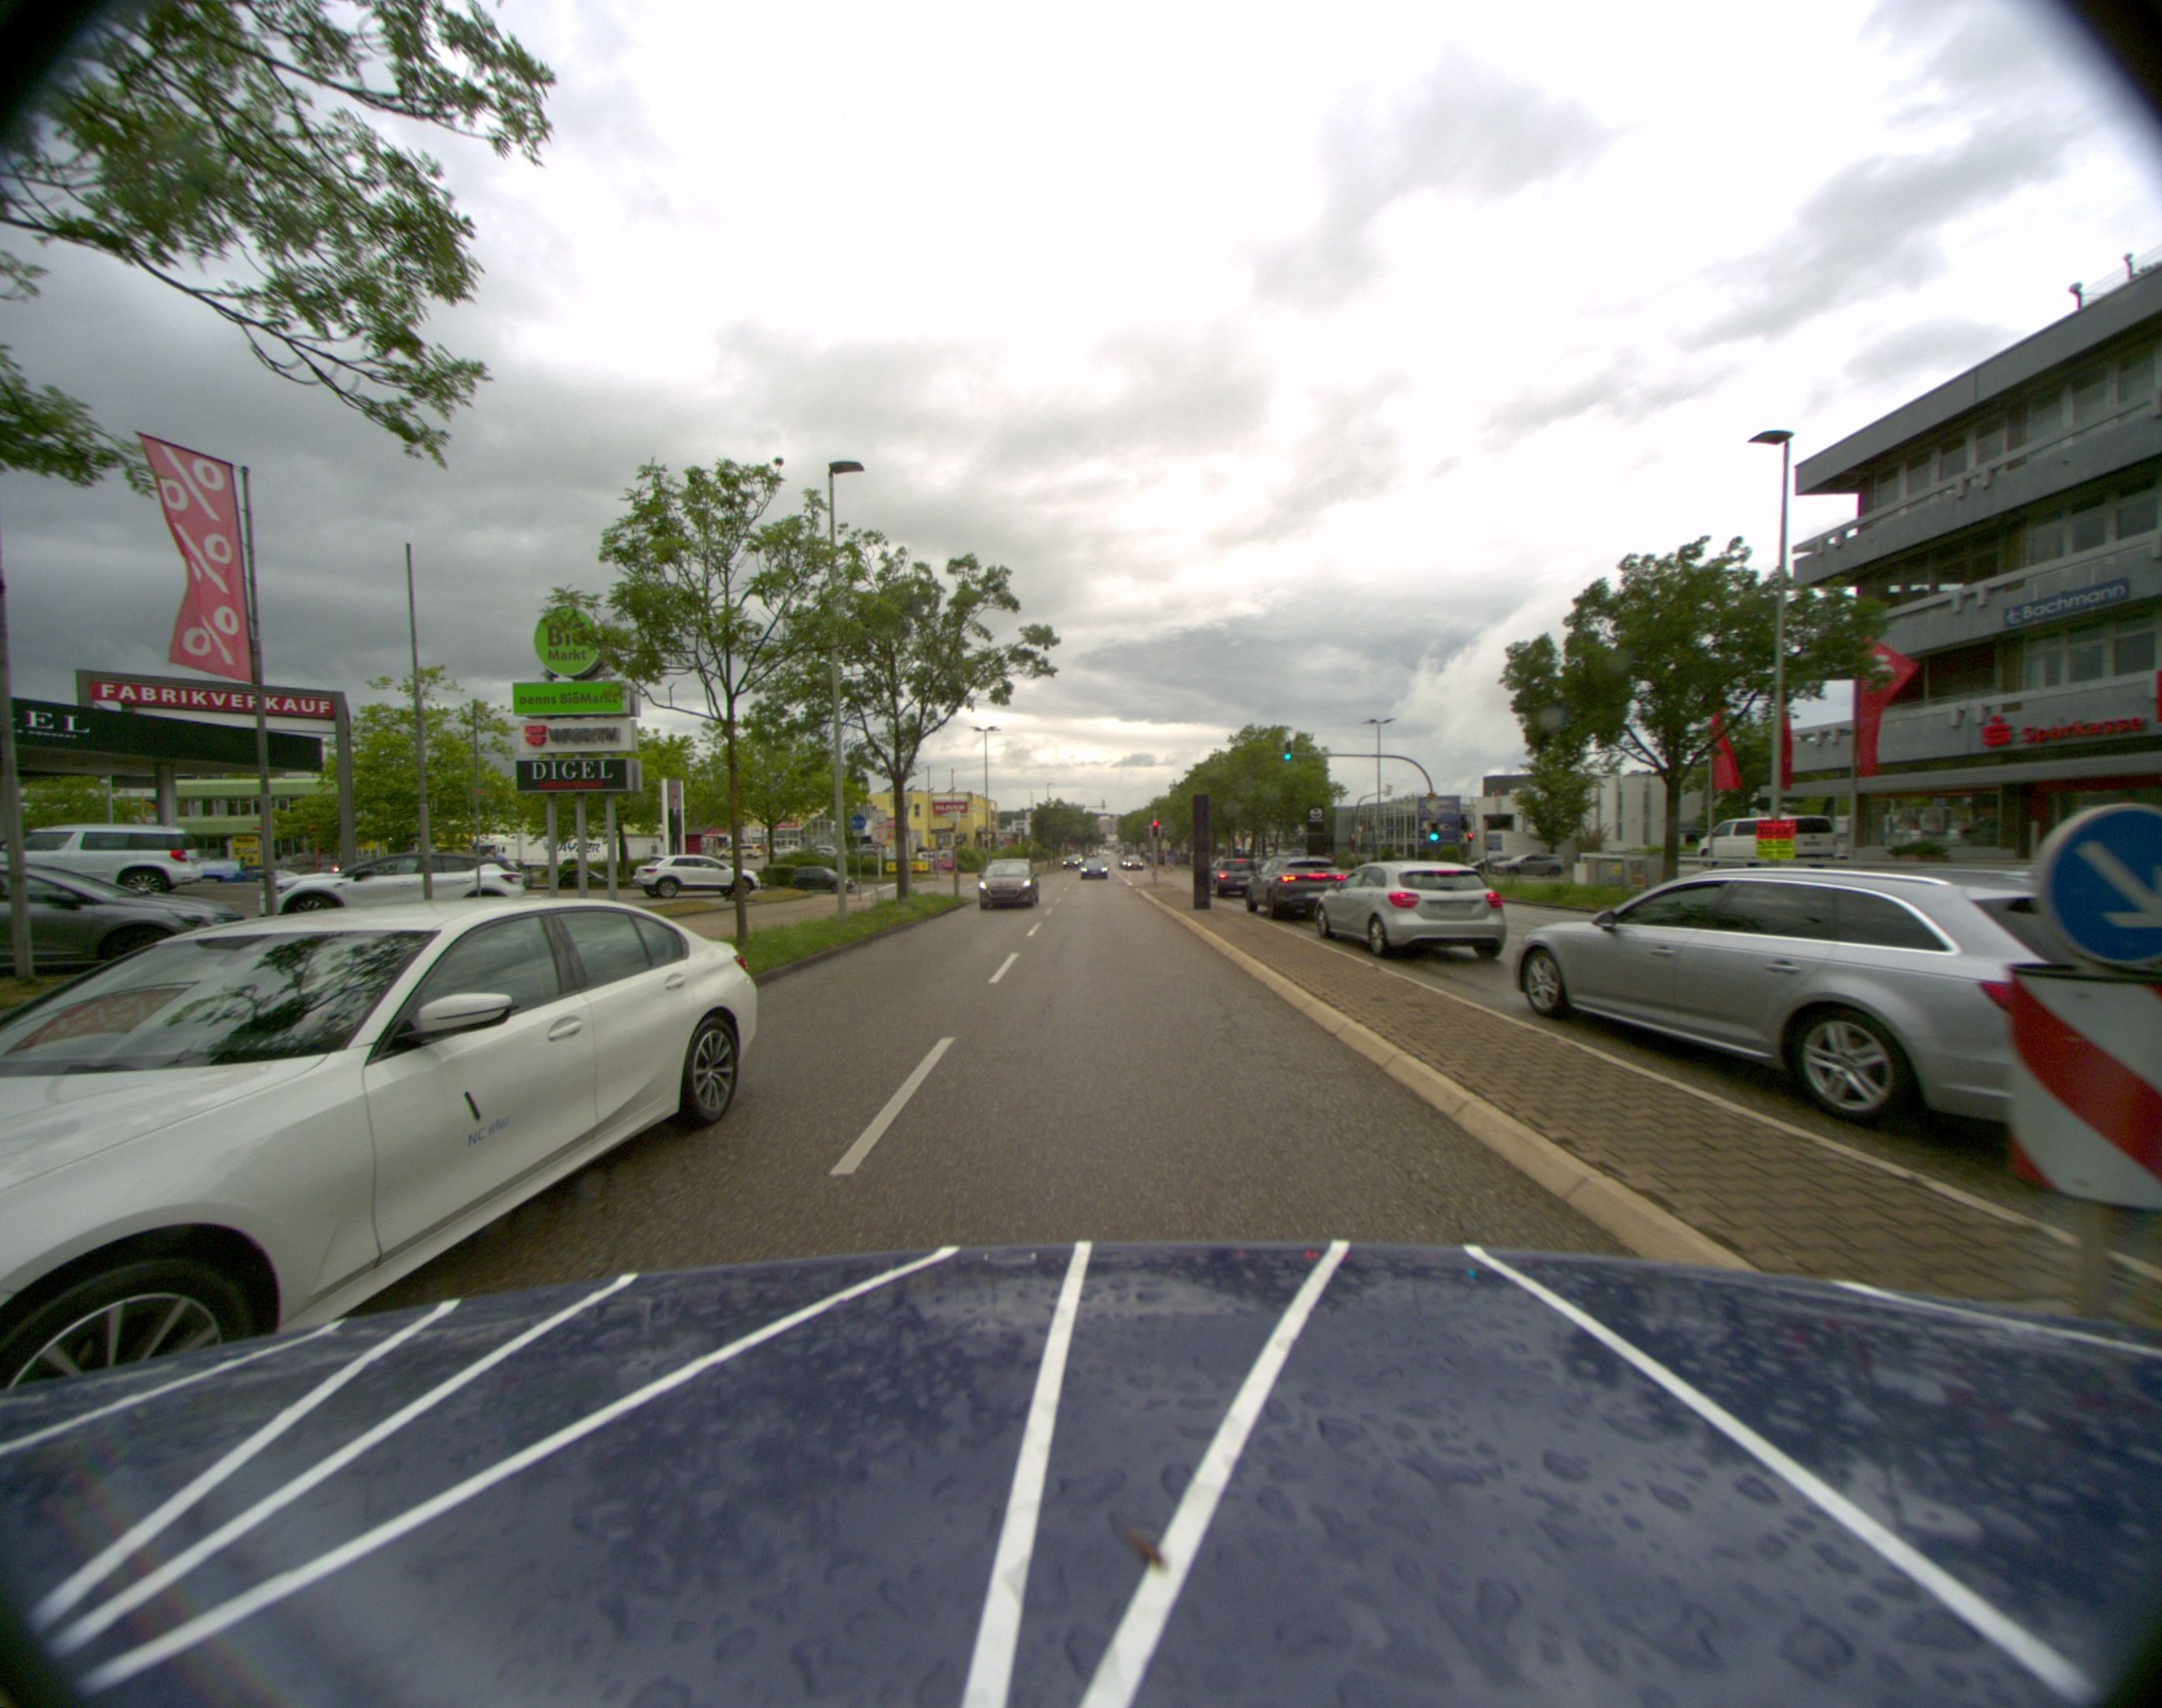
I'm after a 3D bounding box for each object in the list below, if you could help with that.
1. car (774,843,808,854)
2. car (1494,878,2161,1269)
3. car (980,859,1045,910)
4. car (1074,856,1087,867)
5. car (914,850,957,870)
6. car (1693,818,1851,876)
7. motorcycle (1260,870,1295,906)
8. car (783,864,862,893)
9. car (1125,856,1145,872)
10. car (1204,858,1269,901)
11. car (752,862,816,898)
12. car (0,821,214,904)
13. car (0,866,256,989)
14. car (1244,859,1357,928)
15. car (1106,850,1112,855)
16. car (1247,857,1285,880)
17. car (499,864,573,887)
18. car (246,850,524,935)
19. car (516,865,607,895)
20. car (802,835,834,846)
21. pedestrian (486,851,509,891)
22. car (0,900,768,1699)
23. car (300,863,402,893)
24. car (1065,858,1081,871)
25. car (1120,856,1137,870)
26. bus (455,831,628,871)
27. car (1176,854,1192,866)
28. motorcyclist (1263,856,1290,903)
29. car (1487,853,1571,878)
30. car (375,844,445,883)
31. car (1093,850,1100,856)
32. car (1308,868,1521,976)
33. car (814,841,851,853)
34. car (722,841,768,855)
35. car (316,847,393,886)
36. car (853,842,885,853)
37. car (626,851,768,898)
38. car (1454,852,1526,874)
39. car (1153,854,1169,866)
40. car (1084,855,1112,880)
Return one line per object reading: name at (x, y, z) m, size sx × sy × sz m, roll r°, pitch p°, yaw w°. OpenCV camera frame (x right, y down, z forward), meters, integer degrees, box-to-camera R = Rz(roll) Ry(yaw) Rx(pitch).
car at (-41.997, -0.852, 110.174) m, size 4.220 × 1.572 × 1.824 m, roll 0°, pitch 0°, yaw 2°
car at (4.994, 0.938, 5.265) m, size 1.788 × 1.397 × 4.617 m, roll 0°, pitch 0°, yaw 1°
car at (-2.302, 0.990, 26.487) m, size 1.799 × 1.572 × 4.218 m, roll -2°, pitch 0°, yaw 0°
car at (-0.011, 1.097, 109.032) m, size 1.753 × 1.501 × 4.000 m, roll 0°, pitch 0°, yaw 1°
car at (-13.805, 0.582, 72.289) m, size 4.000 × 1.801 × 1.766 m, roll 0°, pitch 0°, yaw -10°
car at (26.552, -0.264, 29.483) m, size 1.997 × 2.002 × 4.887 m, roll -2°, pitch 0°, yaw 6°
motorcycle at (6.464, 1.103, 25.039) m, size 0.704 × 1.101 × 1.800 m, roll 1°, pitch 0°, yaw 1°
car at (-15.081, 1.420, 44.515) m, size 3.998 × 1.502 × 1.742 m, roll -1°, pitch 3°, yaw -4°
car at (5.358, 0.986, 75.252) m, size 1.753 × 1.501 × 4.000 m, roll 0°, pitch 0°, yaw 1°
car at (5.872, 0.914, 29.179) m, size 1.753 × 1.501 × 4.000 m, roll 0°, pitch 0°, yaw 1°
car at (-13.826, 1.181, 35.276) m, size 1.747 × 1.570 × 3.864 m, roll 1°, pitch -2°, yaw -38°
car at (-23.136, 0.190, 17.403) m, size 4.125 × 1.735 × 1.794 m, roll 2°, pitch 1°, yaw -42°
car at (-13.887, 0.917, 9.922) m, size 4.028 × 1.429 × 1.738 m, roll 2°, pitch 0°, yaw -41°
car at (5.371, 0.908, 19.134) m, size 1.753 × 1.516 × 4.000 m, roll 0°, pitch 0°, yaw 1°
car at (8.698, -0.437, 232.681) m, size 1.753 × 1.501 × 4.001 m, roll 1°, pitch 0°, yaw 3°
car at (13.418, 1.034, 55.251) m, size 1.798 × 1.501 × 4.000 m, roll -2°, pitch 0°, yaw 1°
car at (-39.685, 1.564, 55.390) m, size 3.998 × 1.502 × 1.742 m, roll -1°, pitch 3°, yaw -4°
car at (-14.538, 0.789, 16.260) m, size 4.186 × 1.570 × 1.738 m, roll 2°, pitch 0°, yaw -37°
car at (-30.291, 1.492, 44.397) m, size 3.998 × 1.502 × 1.742 m, roll -1°, pitch 3°, yaw -4°
car at (-40.382, -2.049, 116.855) m, size 4.220 × 1.572 × 1.824 m, roll 0°, pitch 0°, yaw 2°
pedestrian at (-24.568, 0.703, 31.994) m, size 0.471 × 1.671 × 0.569 m, roll -1°, pitch 0°, yaw 14°
car at (-3.168, 1.087, 3.053) m, size 1.808 × 1.432 × 4.542 m, roll -3°, pitch 0°, yaw 1°
car at (-42.267, 1.349, 44.052) m, size 3.998 × 1.502 × 1.742 m, roll -1°, pitch 3°, yaw -4°
car at (-0.905, 1.183, 90.613) m, size 1.753 × 1.501 × 4.000 m, roll 0°, pitch 0°, yaw 1°
car at (5.479, 1.032, 87.290) m, size 1.753 × 1.501 × 4.000 m, roll 0°, pitch 0°, yaw 1°
bus at (-52.184, -0.180, 74.835) m, size 4.101 × 3.492 × 17.337 m, roll 0°, pitch 0°, yaw 3°
car at (14.040, 0.862, 103.522) m, size 1.753 × 1.566 × 4.000 m, roll 0°, pitch 0°, yaw 1°
motorcyclist at (6.469, 0.831, 25.176) m, size 0.693 × 1.519 × 0.727 m, roll 1°, pitch 0°, yaw 1°
car at (30.404, 0.797, 51.628) m, size 4.518 × 1.647 × 1.955 m, roll 0°, pitch 0°, yaw 6°
car at (-30.440, 0.389, 34.591) m, size 1.804 × 1.502 × 4.103 m, roll 2°, pitch 1°, yaw -33°
car at (3.996, -0.150, 197.436) m, size 1.753 × 1.501 × 4.001 m, roll 1°, pitch 0°, yaw 3°
car at (5.138, 0.966, 12.346) m, size 1.745 × 1.397 × 4.000 m, roll 0°, pitch 0°, yaw 1°
car at (-30.921, -0.828, 94.529) m, size 3.996 × 1.501 × 1.800 m, roll 0°, pitch 0°, yaw 2°
car at (-43.441, -0.717, 98.297) m, size 5.092 × 1.787 × 2.035 m, roll 0°, pitch 0°, yaw 2°
car at (-33.294, 0.562, 34.935) m, size 1.804 × 1.502 × 4.103 m, roll 2°, pitch 1°, yaw -33°
car at (-30.060, -0.922, 107.694) m, size 3.996 × 1.501 × 1.800 m, roll 0°, pitch 0°, yaw 2°
car at (-14.182, 0.781, 28.235) m, size 4.324 × 1.570 × 1.738 m, roll 2°, pitch 0°, yaw -44°
car at (31.828, 0.717, 59.216) m, size 4.518 × 1.647 × 1.955 m, roll 0°, pitch 0°, yaw 6°
car at (10.343, 0.799, 98.727) m, size 1.753 × 1.501 × 4.000 m, roll 0°, pitch 0°, yaw 1°
car at (1.177, 0.890, 52.357) m, size 1.799 × 1.572 × 4.219 m, roll -2°, pitch 0°, yaw 1°
